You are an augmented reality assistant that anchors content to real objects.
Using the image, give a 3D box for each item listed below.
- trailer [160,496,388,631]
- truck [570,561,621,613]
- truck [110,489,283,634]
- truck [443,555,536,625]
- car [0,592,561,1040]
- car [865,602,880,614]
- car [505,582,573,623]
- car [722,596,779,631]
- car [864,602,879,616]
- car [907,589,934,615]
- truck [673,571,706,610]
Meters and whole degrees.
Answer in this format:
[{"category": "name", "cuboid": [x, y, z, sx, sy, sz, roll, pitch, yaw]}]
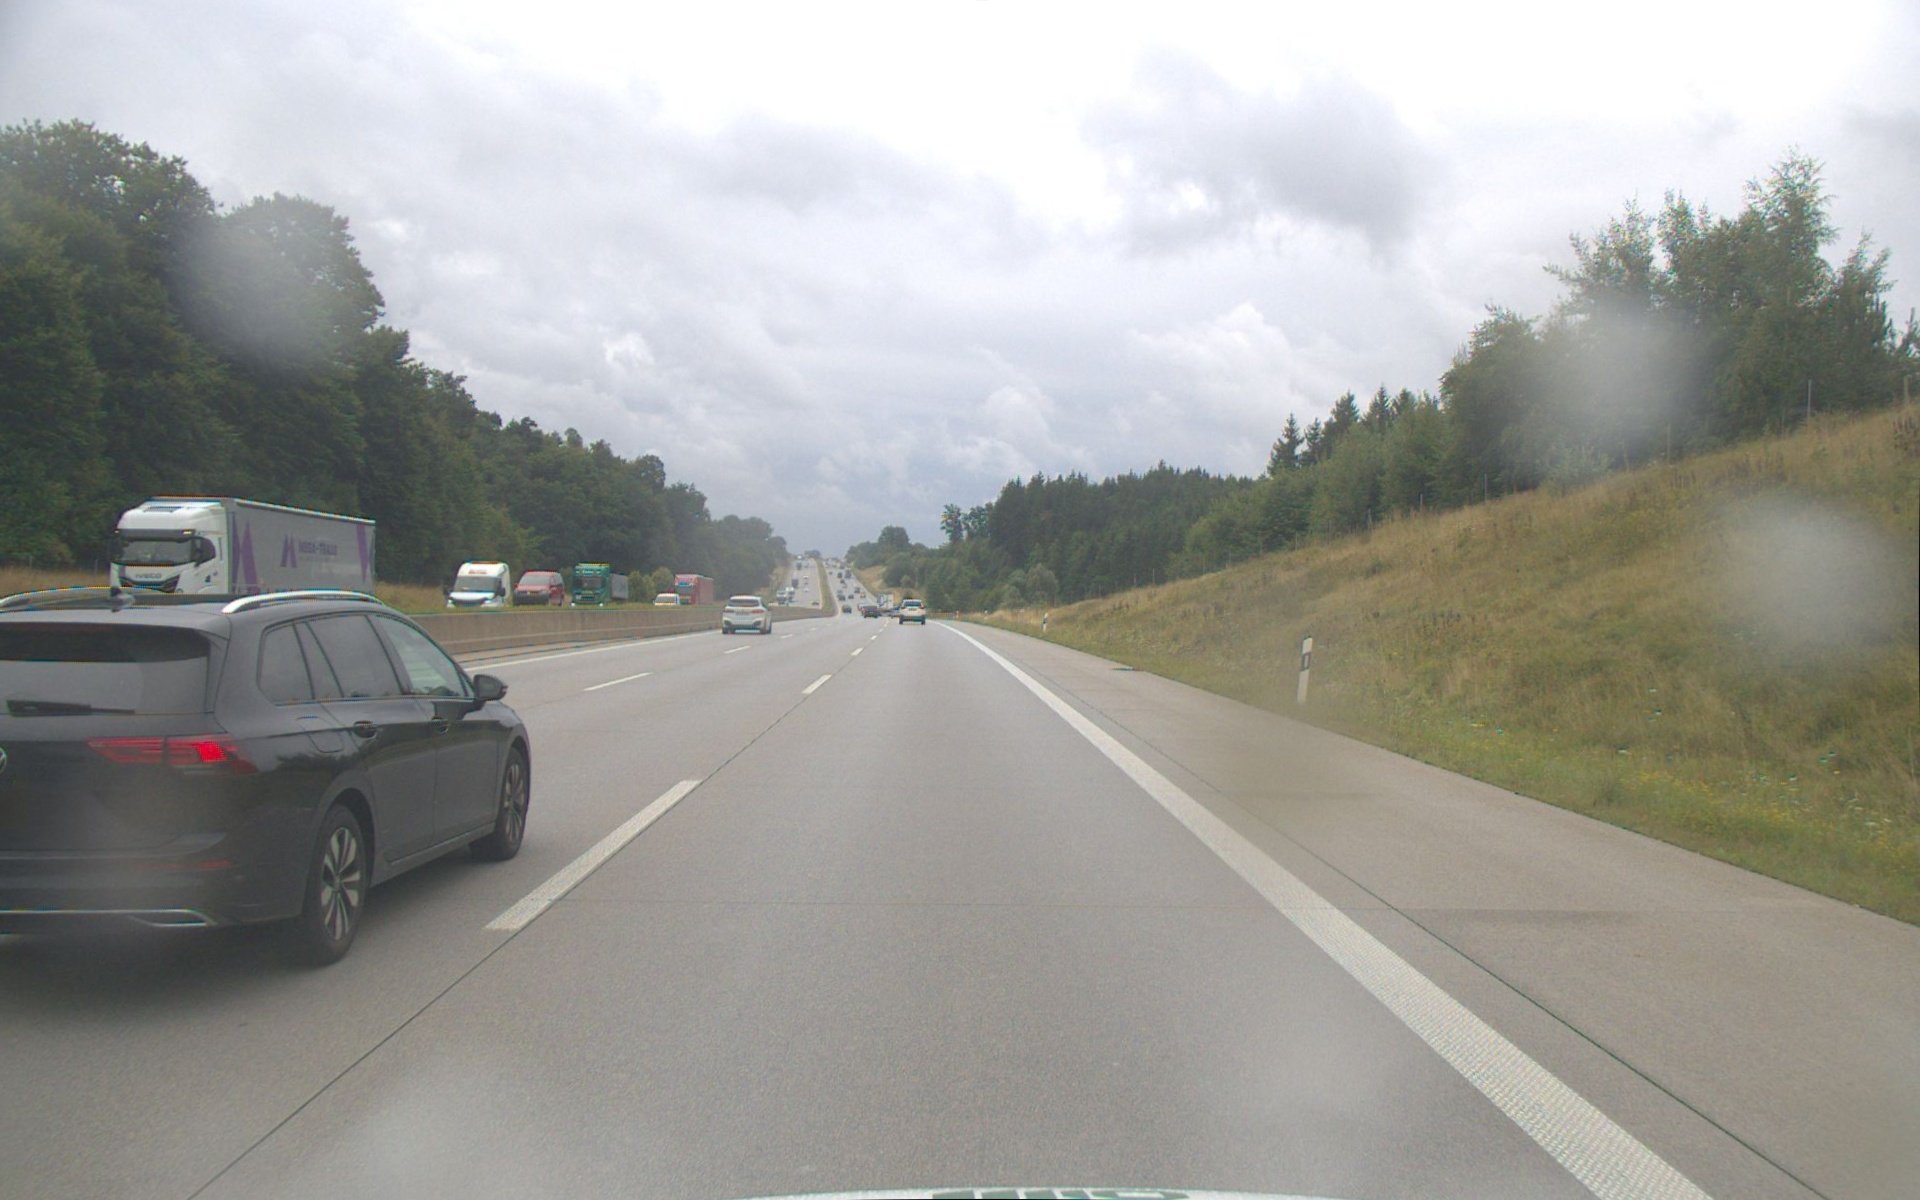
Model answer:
[{"category": "trailer", "cuboid": [-23.815, -1.137, 58.580, 2.447, 4.175, 13.971, 1, 0, -1]}, {"category": "truck", "cuboid": [-27.457, -0.983, 124.710, 2.724, 3.806, 5.658, 1, 0, -2]}, {"category": "truck", "cuboid": [-23.659, -1.138, 51.619, 2.458, 4.198, 6.459, 1, 0, -1]}, {"category": "truck", "cuboid": [-20.172, -0.426, 71.290, 2.222, 2.837, 6.510, 1, 0, -1]}, {"category": "car", "cuboid": [-3.255, 0.693, 7.606, 1.716, 1.422, 4.484, 1, 0, 0]}, {"category": "car", "cuboid": [-11.530, 1.026, 218.392, 1.897, 1.399, 4.590, 1, 0, -4]}, {"category": "car", "cuboid": [-20.643, 0.140, 81.389, 1.953, 1.915, 5.313, 1, 0, 0]}, {"category": "car", "cuboid": [-8.723, 0.553, 69.118, 1.908, 1.379, 4.258, 1, 0, -2]}, {"category": "car", "cuboid": [-11.587, 1.180, 216.614, 1.854, 1.780, 3.996, 1, 0, -4]}, {"category": "car", "cuboid": [-2.722, 0.141, 113.491, 1.789, 1.684, 3.984, 1, 0, -2]}, {"category": "truck", "cuboid": [-28.240, -1.002, 172.948, 2.502, 3.996, 6.943, 1, 0, -2]}]
